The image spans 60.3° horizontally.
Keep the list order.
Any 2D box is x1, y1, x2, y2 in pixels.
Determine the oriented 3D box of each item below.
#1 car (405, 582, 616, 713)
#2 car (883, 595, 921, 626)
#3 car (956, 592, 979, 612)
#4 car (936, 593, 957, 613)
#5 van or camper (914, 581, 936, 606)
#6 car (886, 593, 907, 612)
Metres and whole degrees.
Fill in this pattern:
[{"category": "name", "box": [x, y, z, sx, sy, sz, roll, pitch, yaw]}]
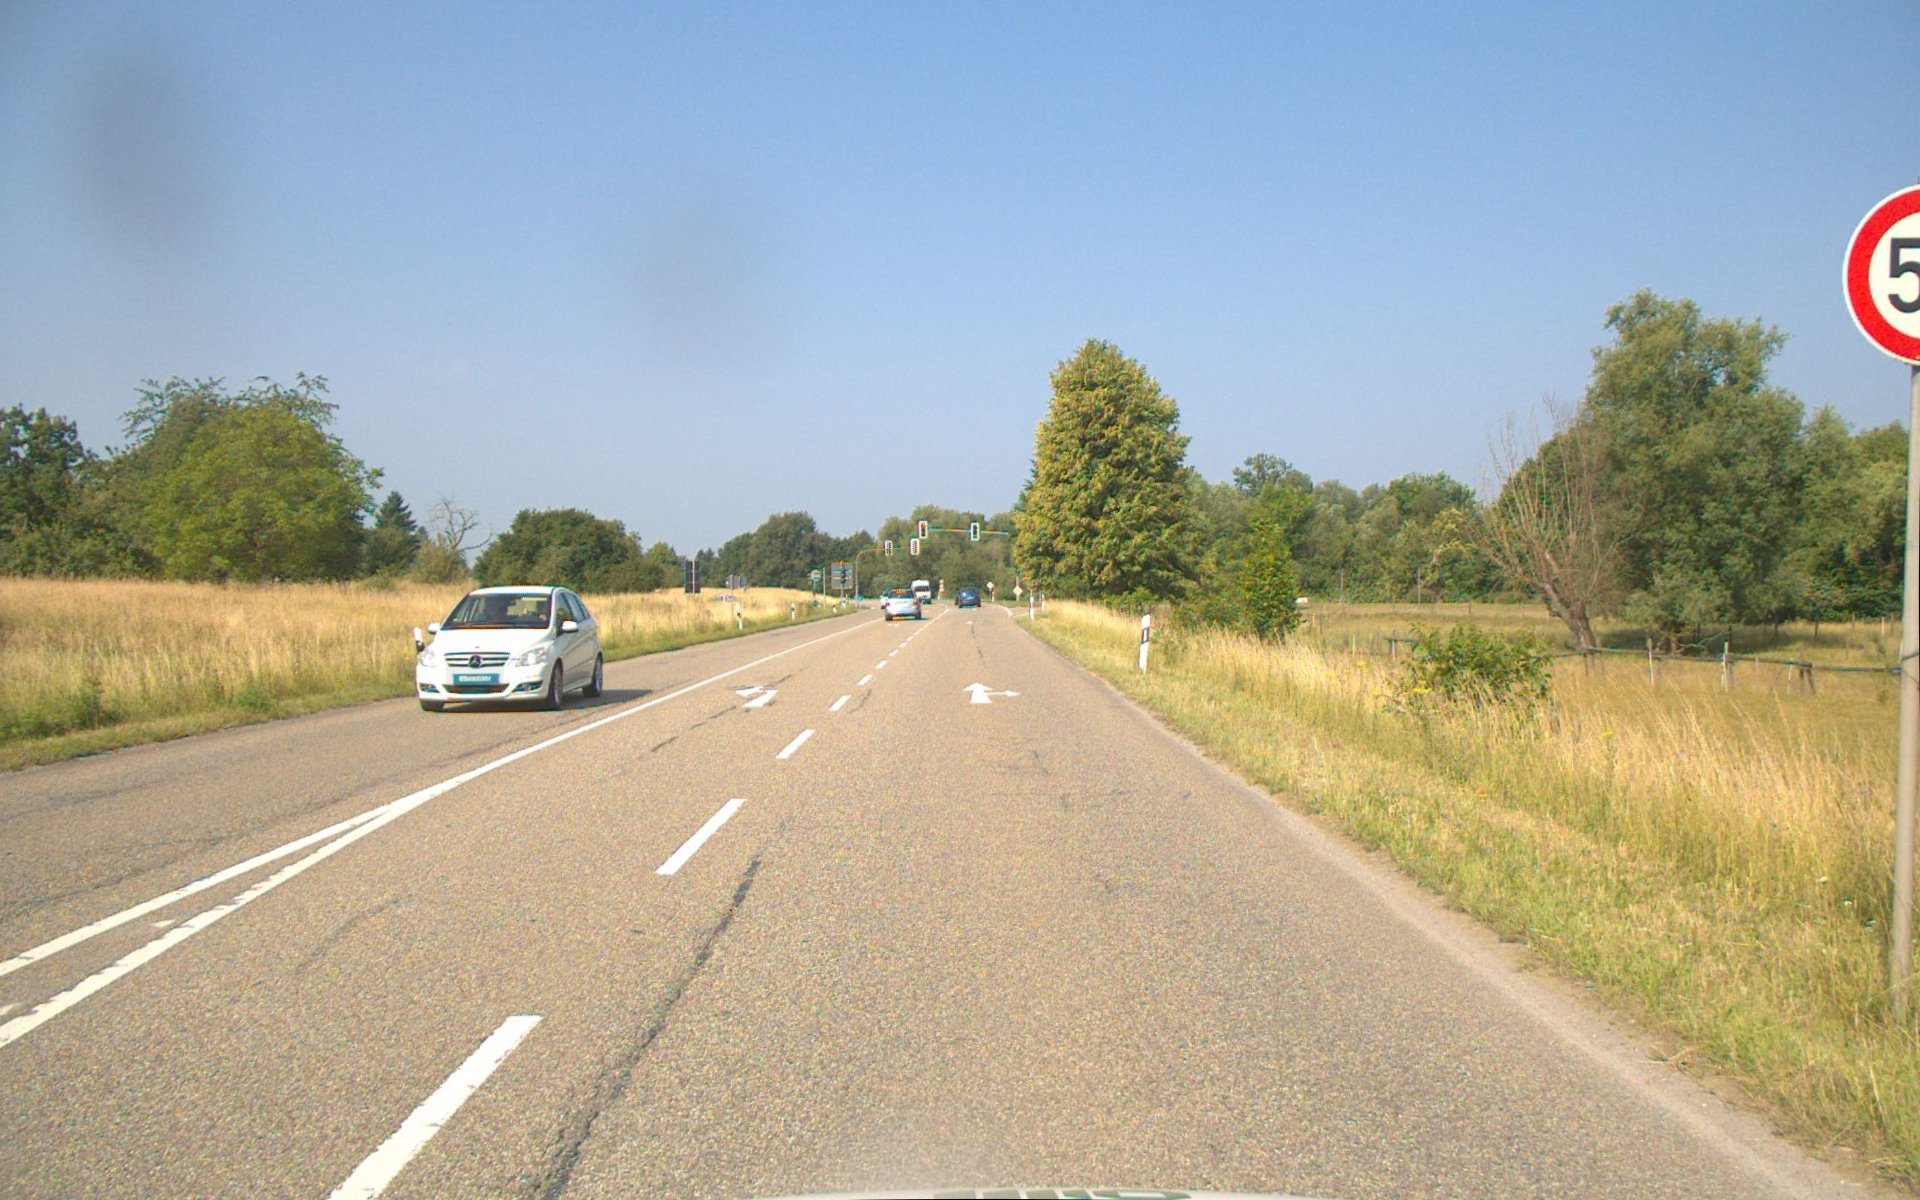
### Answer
[{"category": "car", "box": [-6.027, 0.579, 22.688, 1.775, 1.613, 4.224, 0, 0, -1]}, {"category": "car", "box": [-3.070, 0.539, 87.830, 1.860, 1.538, 4.000, 2, 0, -1]}, {"category": "car", "box": [0.606, 0.138, 135.560, 1.779, 1.547, 4.000, 2, 0, 0]}, {"category": "car", "box": [-1.302, 0.320, 160.808, 1.953, 1.847, 4.000, 2, 0, 0]}, {"category": "van or camper", "box": [-3.980, -0.726, 187.080, 2.218, 2.757, 5.263, 2, 0, 1]}, {"category": "car", "box": [-6.080, 0.233, 158.745, 1.559, 1.758, 4.001, 2, 0, 3]}]
